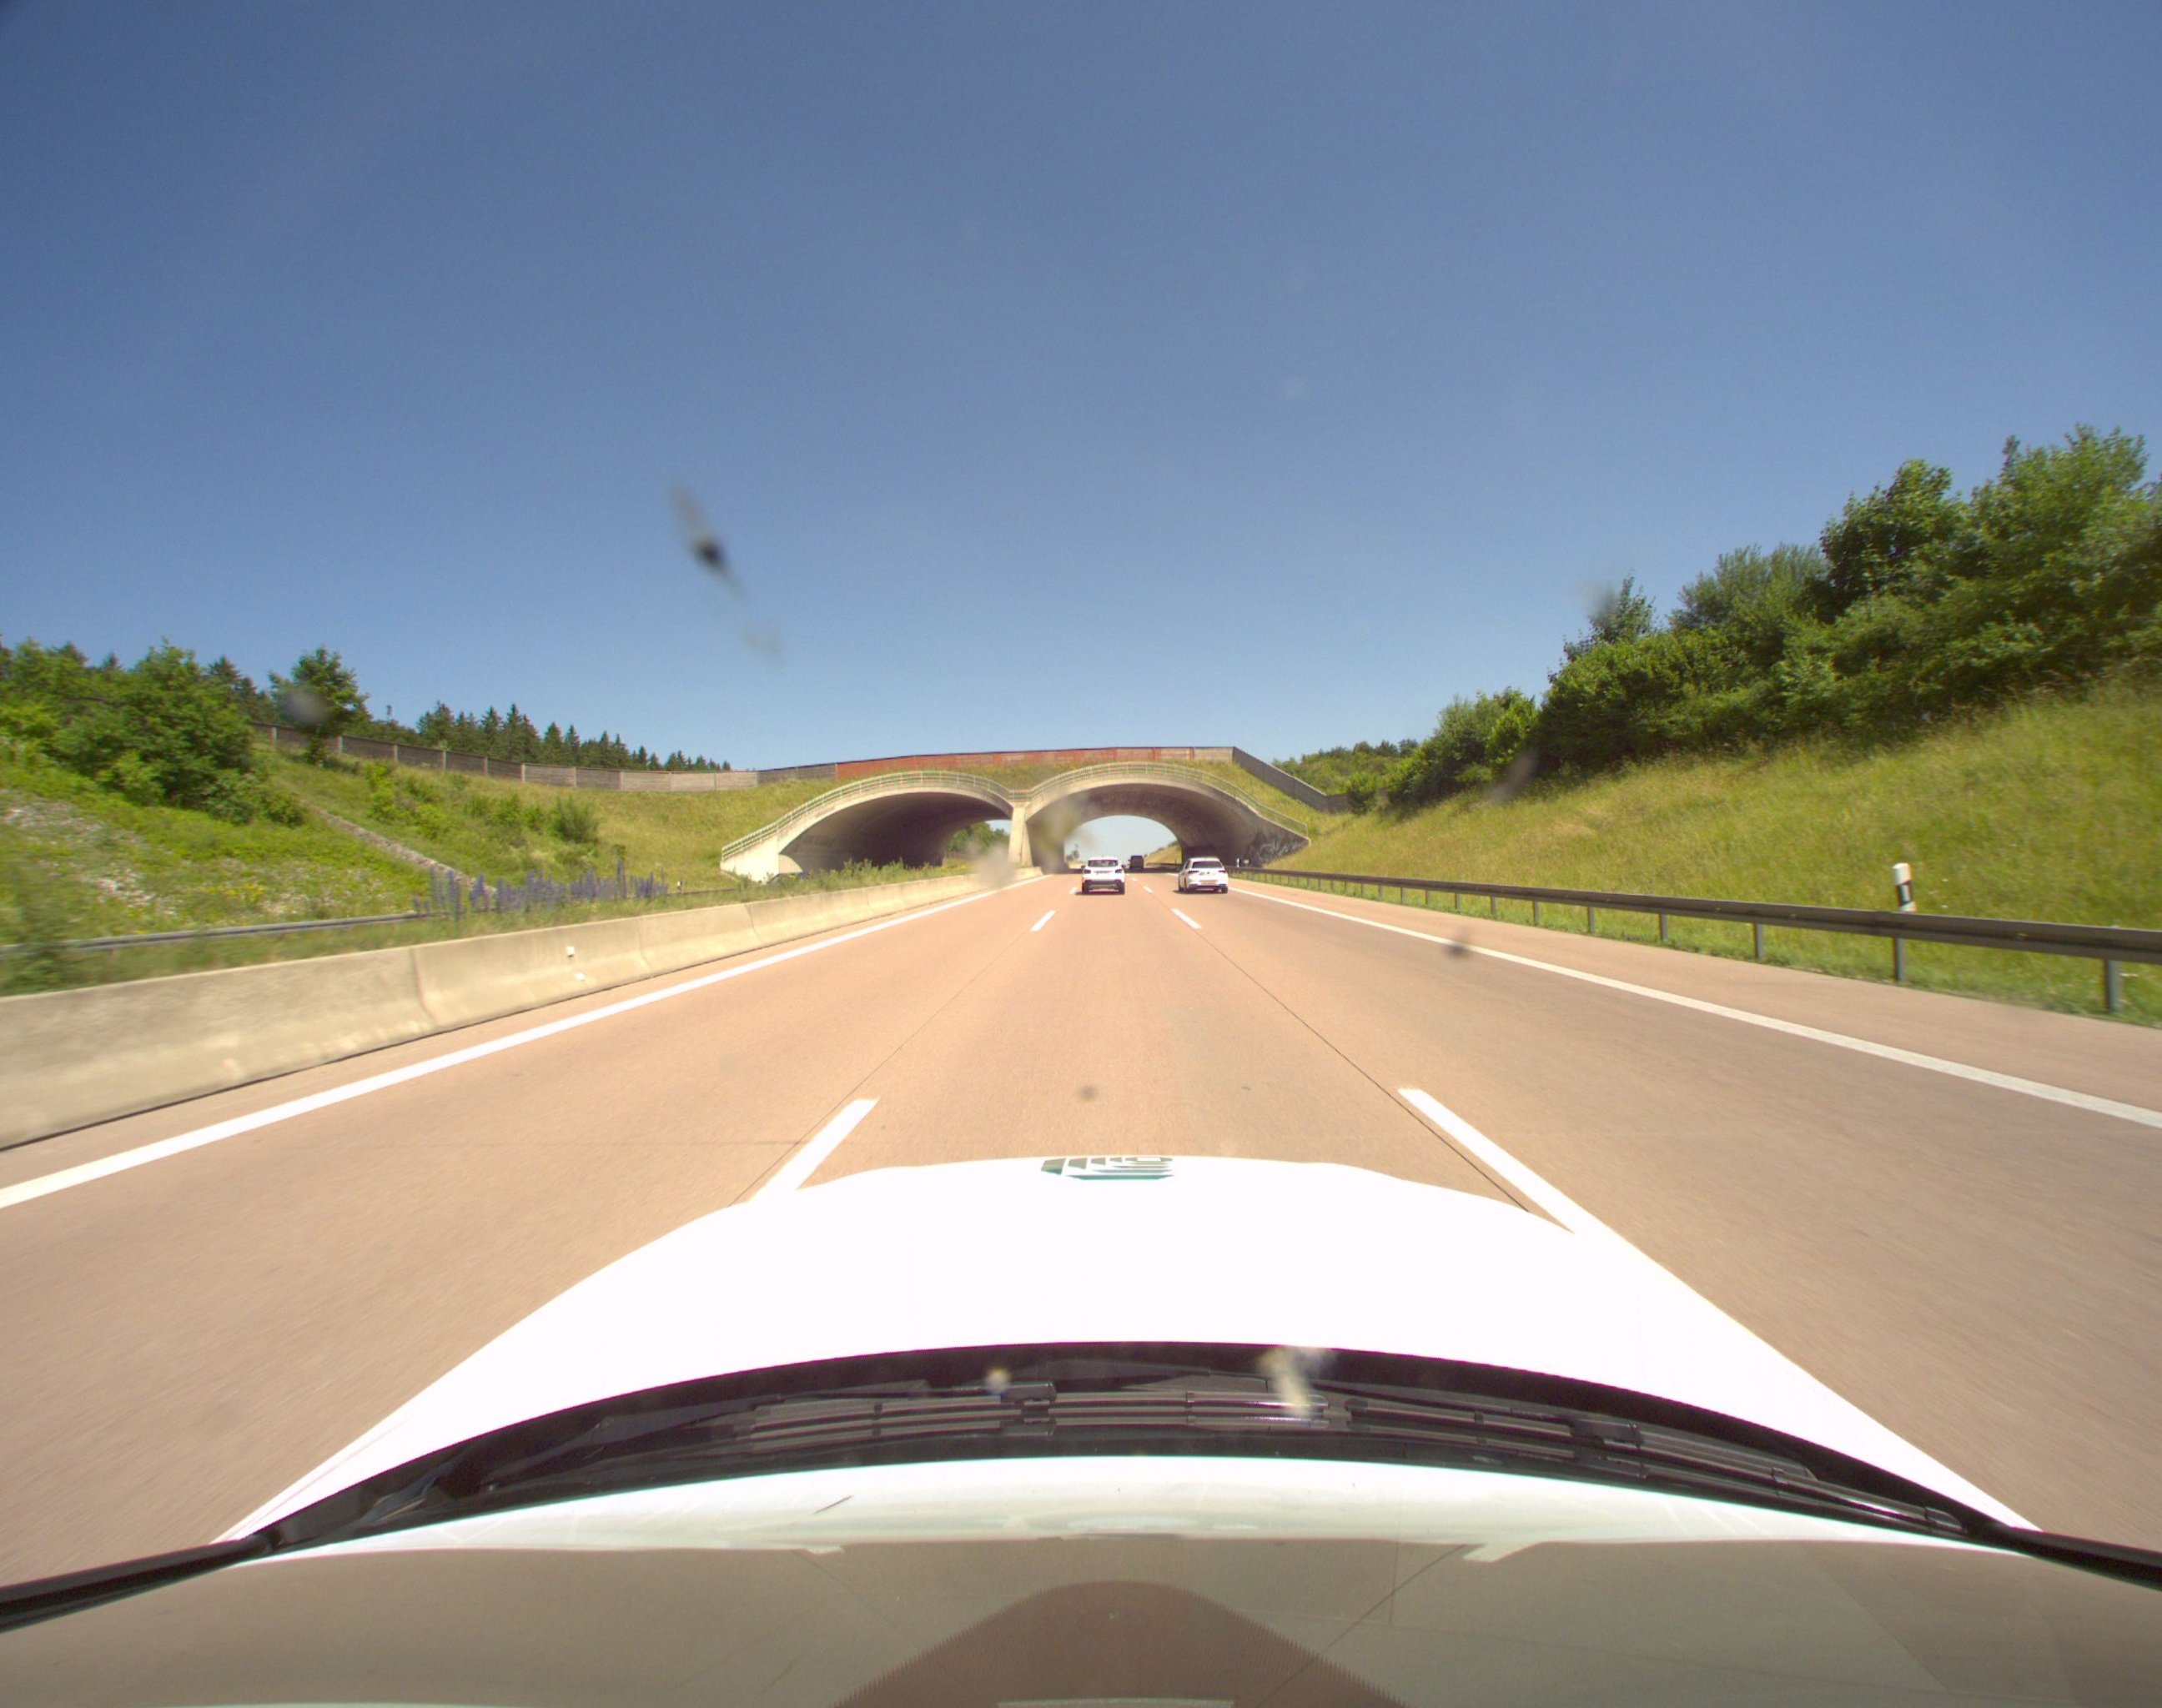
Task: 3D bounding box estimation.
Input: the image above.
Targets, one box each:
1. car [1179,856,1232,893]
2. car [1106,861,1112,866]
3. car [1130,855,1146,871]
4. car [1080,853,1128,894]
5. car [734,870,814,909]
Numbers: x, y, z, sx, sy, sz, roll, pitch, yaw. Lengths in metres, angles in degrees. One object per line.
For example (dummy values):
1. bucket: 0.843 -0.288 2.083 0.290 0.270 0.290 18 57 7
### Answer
1. car: 5.156 0.820 34.202 1.882 1.398 4.004 0 1 4
2. car: 8.695 3.020 255.831 1.883 1.463 4.002 0 0 2
3. car: 7.795 1.212 110.819 2.101 2.053 4.004 -1 1 4
4. car: 0.980 0.799 34.849 1.872 1.607 4.835 -1 0 2
5. car: -14.977 1.692 40.049 1.883 1.593 4.981 -1 1 2
